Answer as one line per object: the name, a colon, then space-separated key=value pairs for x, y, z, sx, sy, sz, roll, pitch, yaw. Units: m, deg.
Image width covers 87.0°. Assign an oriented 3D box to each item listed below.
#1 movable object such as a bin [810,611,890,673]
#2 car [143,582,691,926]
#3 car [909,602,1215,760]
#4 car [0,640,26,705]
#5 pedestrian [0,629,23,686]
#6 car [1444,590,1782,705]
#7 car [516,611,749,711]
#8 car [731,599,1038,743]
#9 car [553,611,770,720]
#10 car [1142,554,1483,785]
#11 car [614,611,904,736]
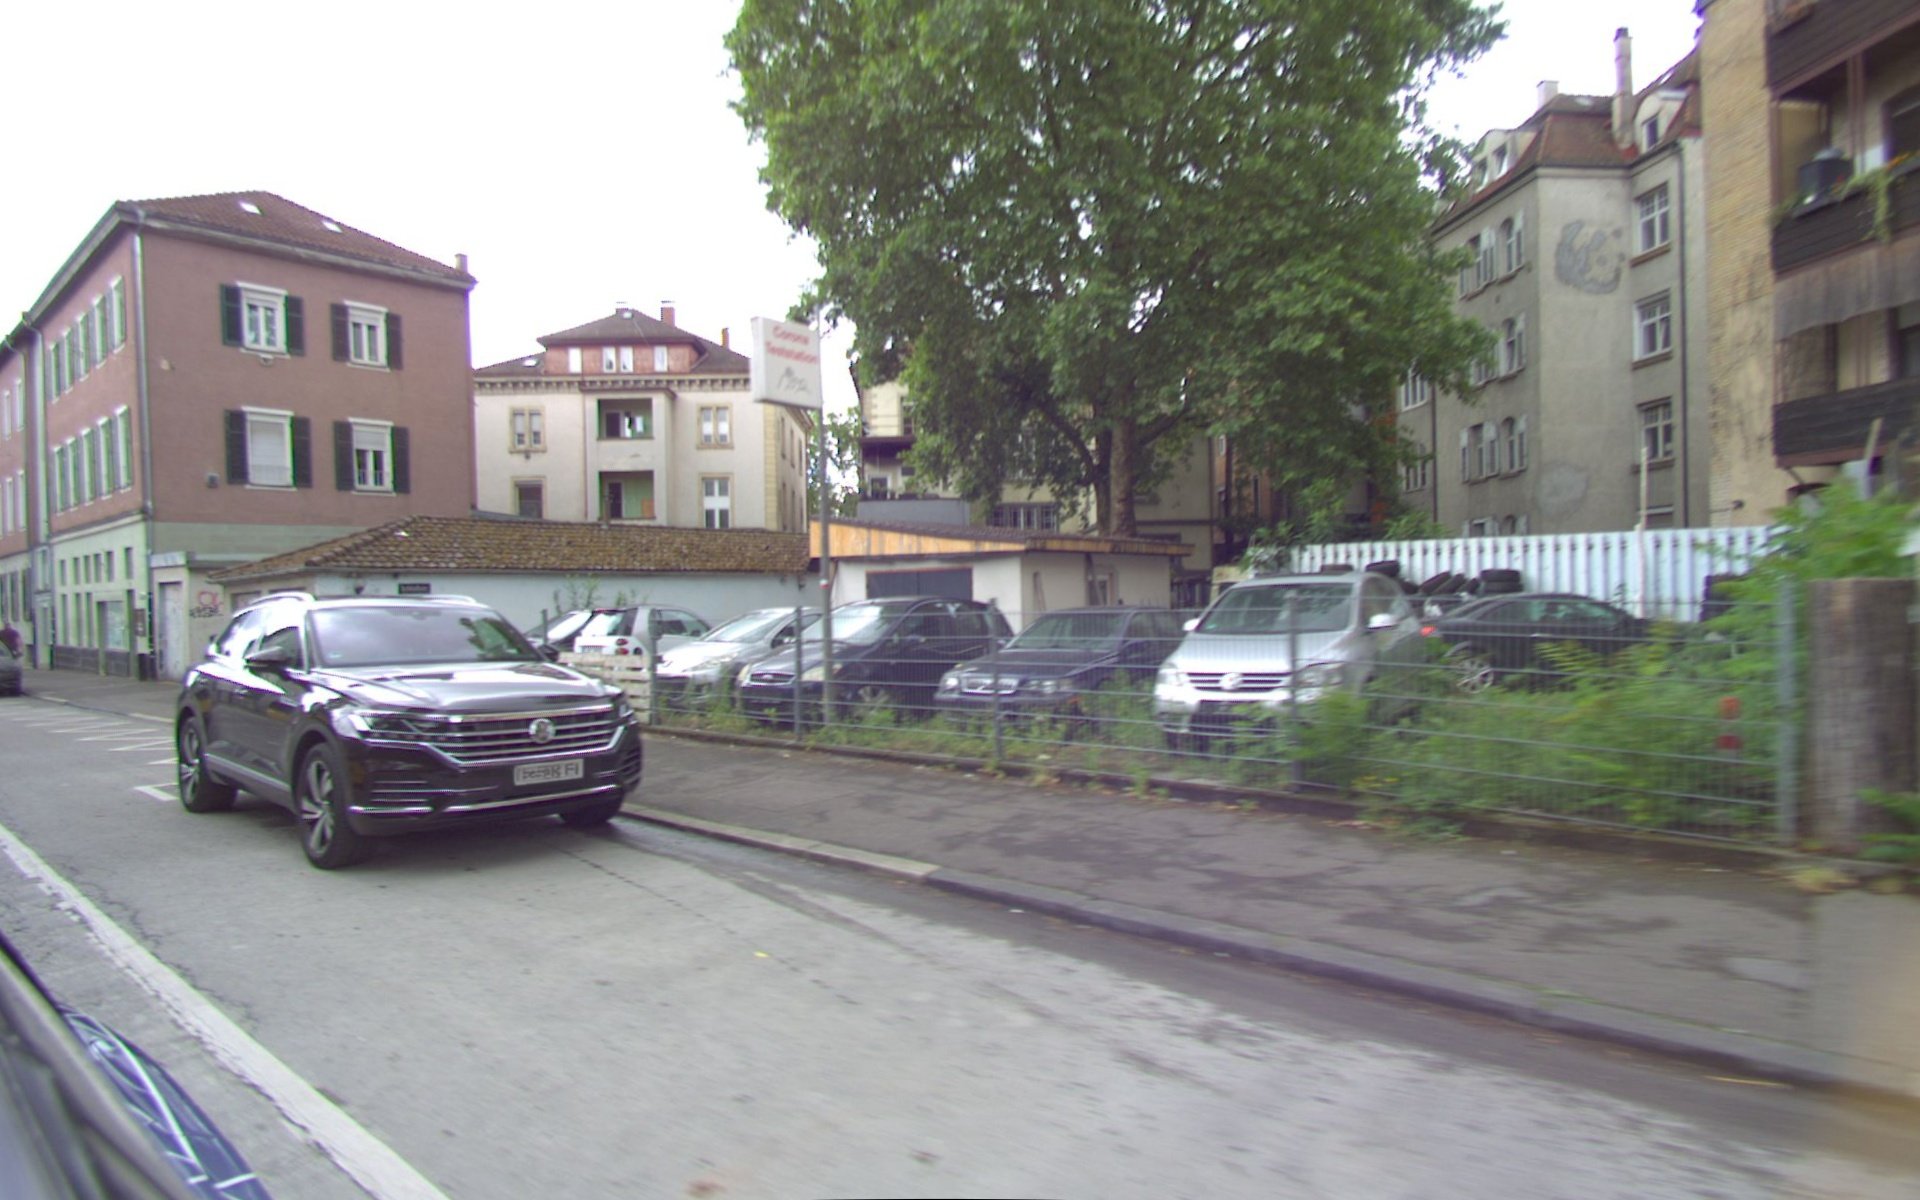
movable object such as a bin: x=-2.930 y=1.114 z=27.030 sx=1.172 sy=1.494 sz=1.728 roll=-3 pitch=1 yaw=40
car: x=-4.228 y=0.864 z=7.468 sx=4.770 sy=1.747 sz=1.934 roll=-3 pitch=-1 yaw=40
car: x=1.233 y=0.770 z=10.995 sx=1.546 sy=1.425 sz=3.559 roll=-2 pitch=-2 yaw=40
car: x=-24.891 y=1.834 z=25.210 sx=4.124 sy=1.497 sz=1.859 roll=-2 pitch=2 yaw=40
pedestrian: x=-30.625 y=1.860 z=32.352 sx=0.983 sy=1.757 sz=0.754 roll=-4 pitch=0 yaw=38
car: x=8.835 y=0.648 z=14.011 sx=3.475 sy=1.384 sz=1.669 roll=-3 pitch=-1 yaw=13
car: x=-5.991 y=1.055 z=18.790 sx=1.852 sy=1.655 sz=3.724 roll=-2 pitch=-2 yaw=40
car: x=-0.831 y=0.790 z=12.597 sx=1.852 sy=1.516 sz=3.559 roll=-2 pitch=-2 yaw=40
car: x=-4.754 y=0.989 z=16.283 sx=1.852 sy=1.577 sz=2.818 roll=-2 pitch=-2 yaw=41
car: x=3.280 y=0.529 z=9.041 sx=1.687 sy=1.624 sz=3.559 roll=-2 pitch=-2 yaw=40
car: x=-2.735 y=0.935 z=14.321 sx=1.852 sy=1.516 sz=3.684 roll=-2 pitch=-2 yaw=40
